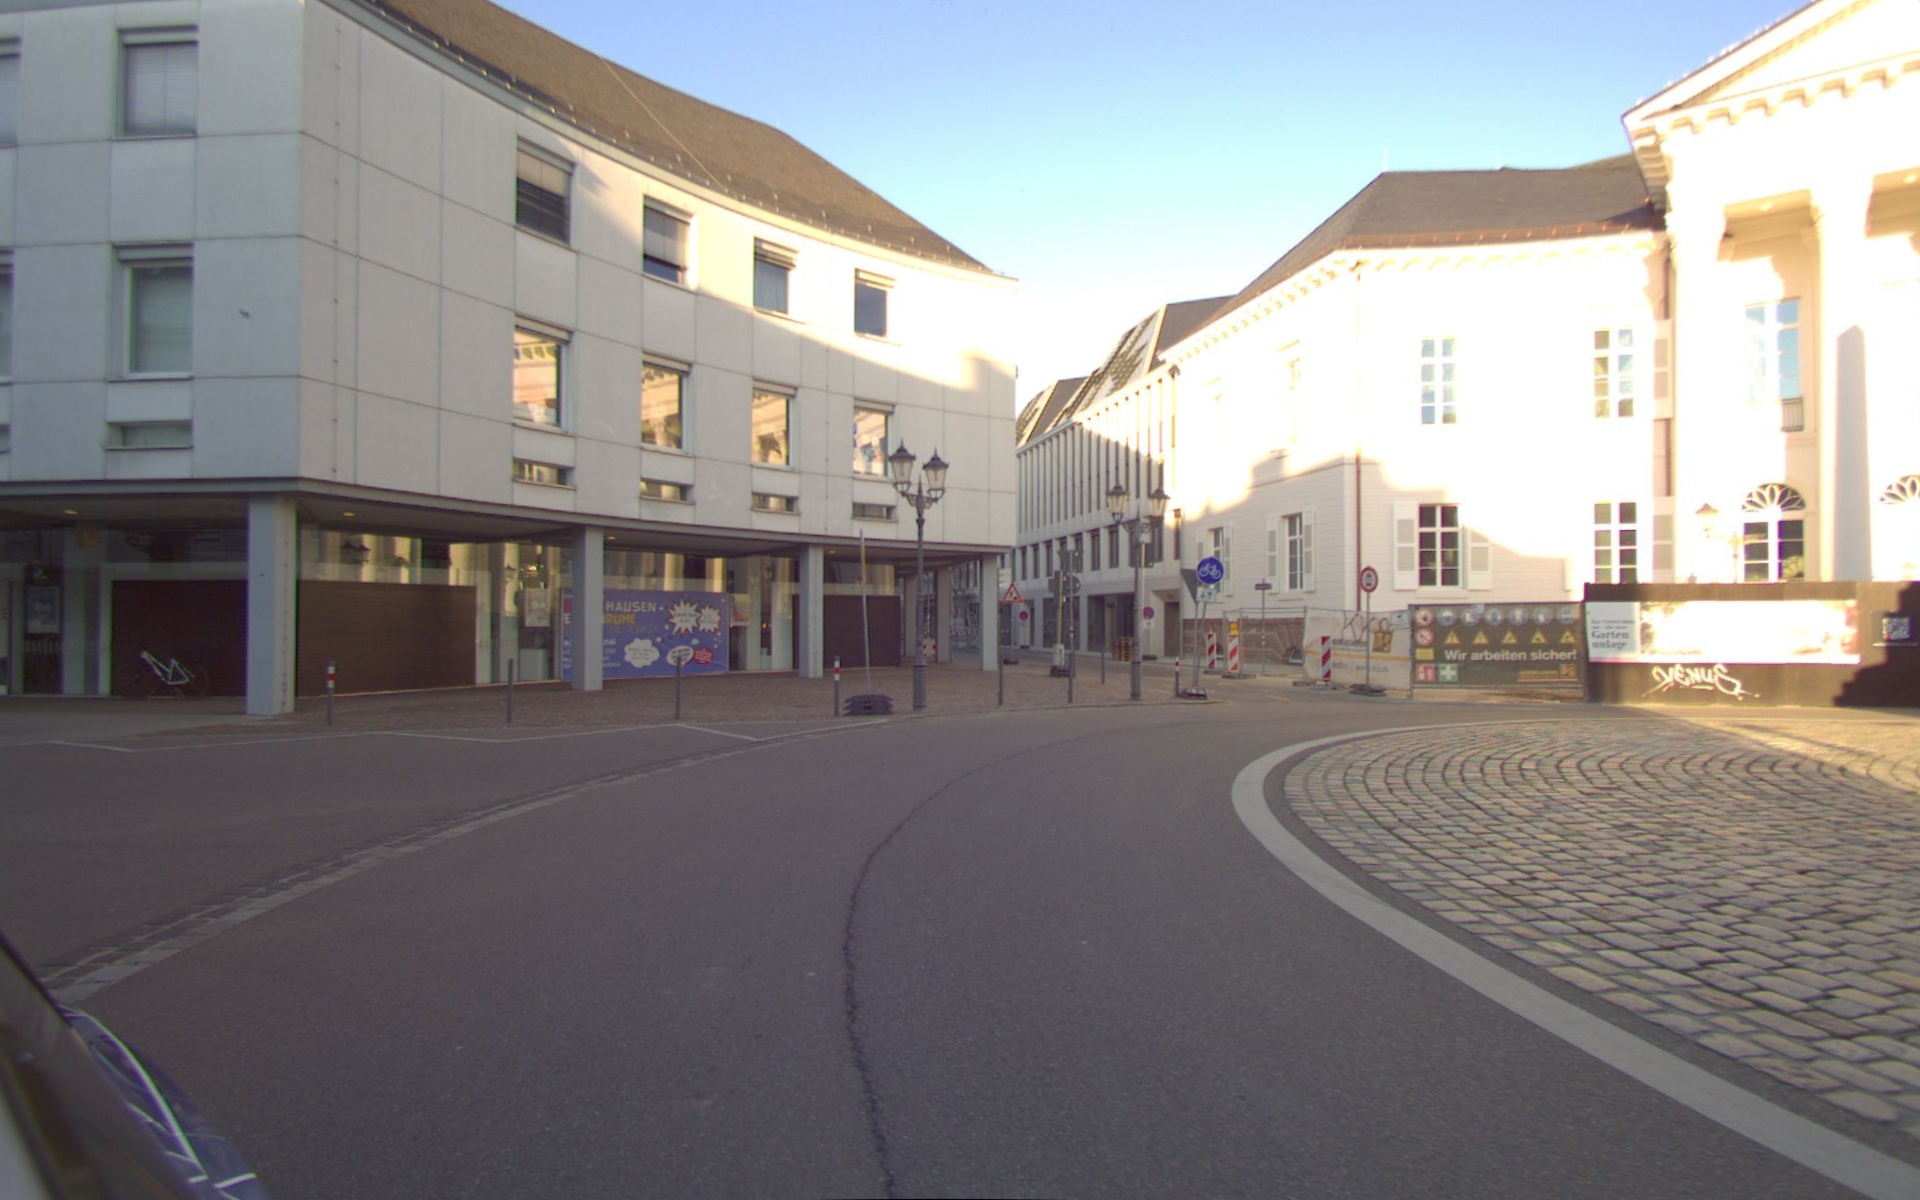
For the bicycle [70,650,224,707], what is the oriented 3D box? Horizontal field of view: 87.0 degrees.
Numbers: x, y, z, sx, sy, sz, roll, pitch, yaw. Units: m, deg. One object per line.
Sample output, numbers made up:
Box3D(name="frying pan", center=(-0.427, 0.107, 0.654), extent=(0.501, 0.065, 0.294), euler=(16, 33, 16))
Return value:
Box3D(name="bicycle", center=(-14.889, 1.434, 18.557), extent=(2.305, 0.991, 0.734), euler=(0, -1, 3))
